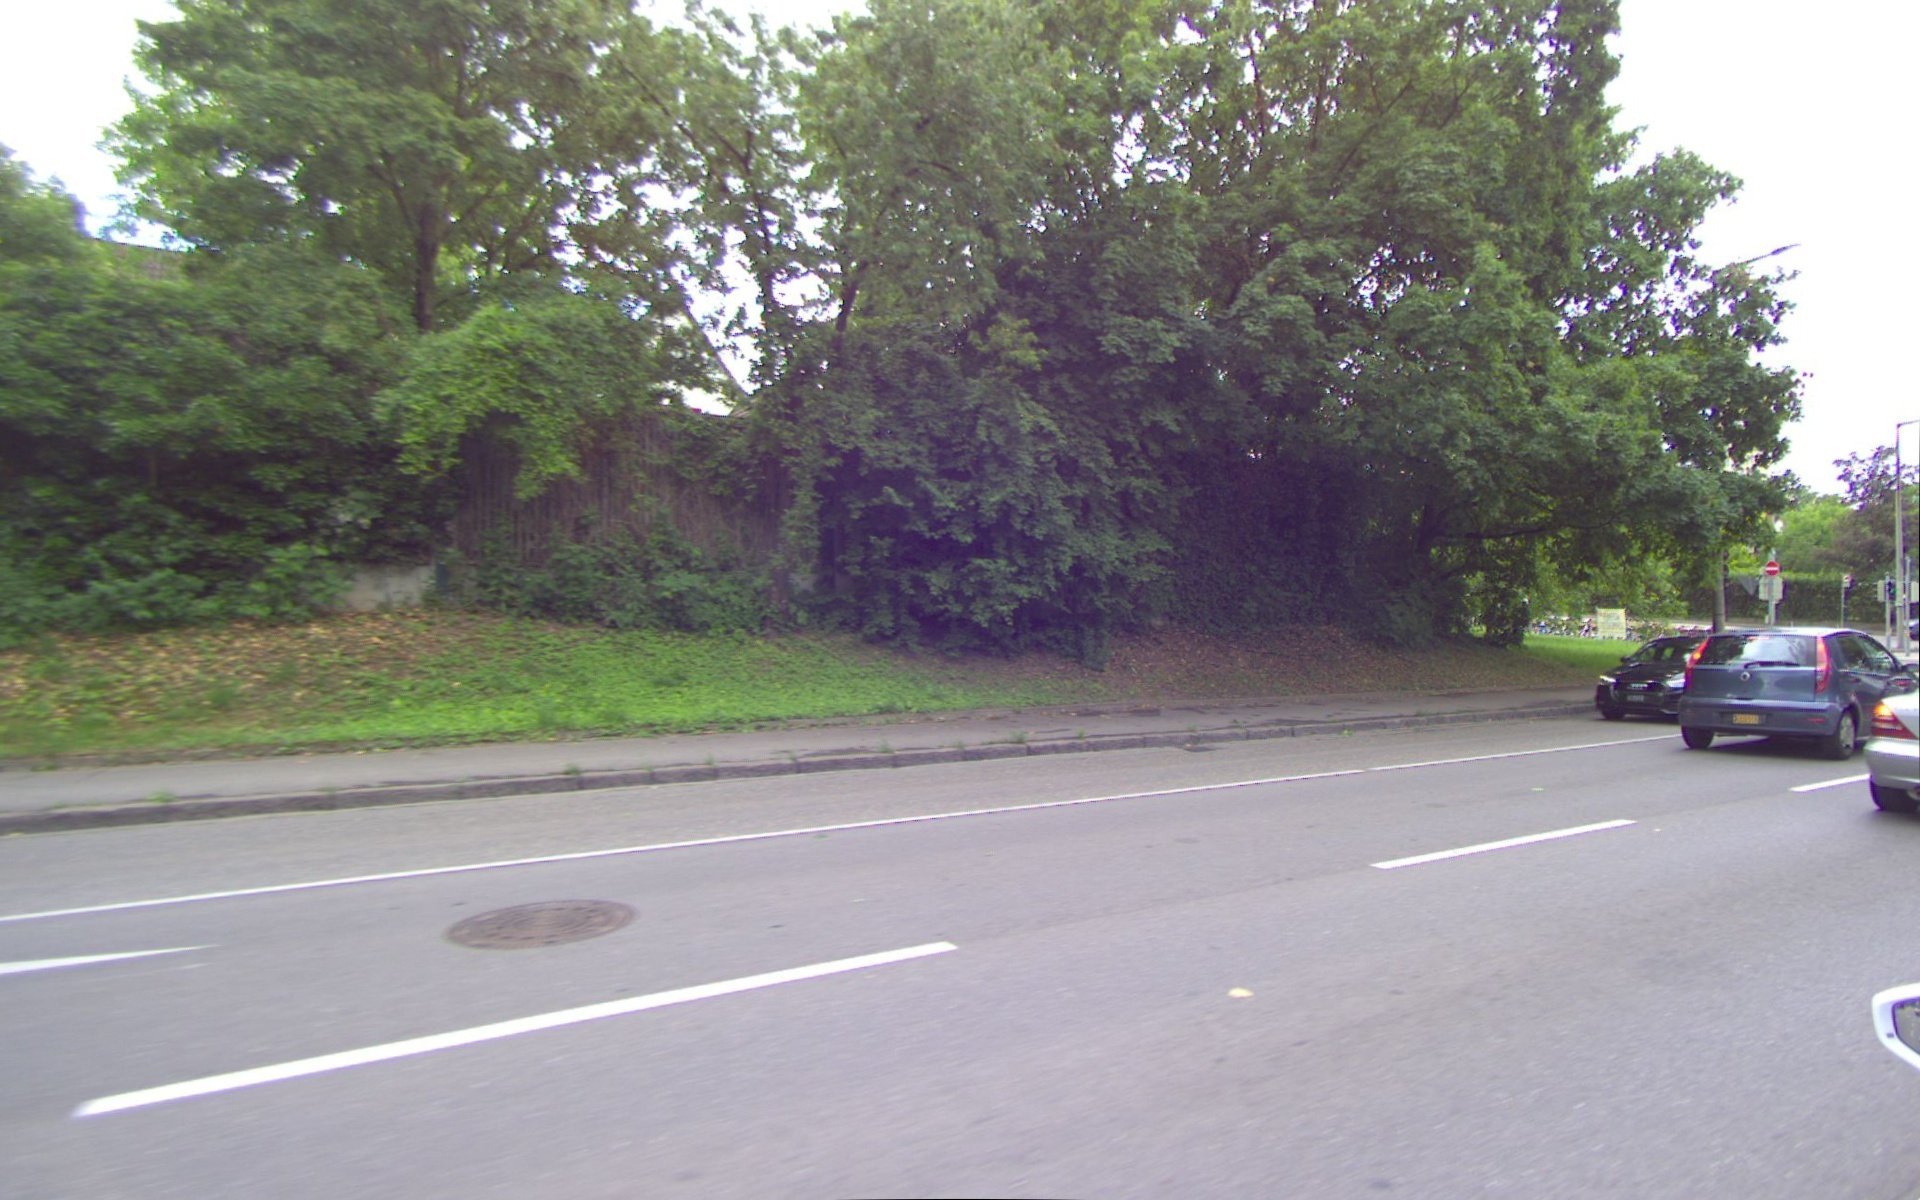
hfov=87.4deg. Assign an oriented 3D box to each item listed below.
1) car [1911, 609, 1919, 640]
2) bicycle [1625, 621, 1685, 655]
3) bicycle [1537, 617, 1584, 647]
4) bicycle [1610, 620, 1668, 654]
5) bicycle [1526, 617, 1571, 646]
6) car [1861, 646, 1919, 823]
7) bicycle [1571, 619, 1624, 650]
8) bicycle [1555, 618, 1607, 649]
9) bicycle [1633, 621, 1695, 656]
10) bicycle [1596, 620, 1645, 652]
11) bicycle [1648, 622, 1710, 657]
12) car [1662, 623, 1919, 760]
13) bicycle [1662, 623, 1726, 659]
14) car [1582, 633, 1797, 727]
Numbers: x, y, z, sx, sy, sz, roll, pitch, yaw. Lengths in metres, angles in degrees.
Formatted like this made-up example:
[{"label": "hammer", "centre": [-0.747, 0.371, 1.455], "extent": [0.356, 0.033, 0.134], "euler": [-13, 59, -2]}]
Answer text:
[{"label": "car", "centre": [58.264, 1.487, 58.168], "extent": [4.374, 1.836, 1.942], "euler": [1, 0, 38]}, {"label": "bicycle", "centre": [27.889, 1.520, 40.321], "extent": [1.896, 1.269, 0.546], "euler": [2, 1, 7]}, {"label": "bicycle", "centre": [27.218, 1.454, 45.541], "extent": [1.900, 1.269, 0.545], "euler": [2, 1, -9]}, {"label": "bicycle", "centre": [27.875, 1.512, 41.249], "extent": [1.896, 1.269, 0.546], "euler": [2, 1, 7]}, {"label": "bicycle", "centre": [27.108, 1.444, 46.248], "extent": [1.903, 1.269, 0.544], "euler": [2, 1, -14]}, {"label": "car", "centre": [8.941, 1.041, 8.038], "extent": [3.778, 1.284, 1.547], "euler": [1, 0, -31]}, {"label": "bicycle", "centre": [27.602, 1.484, 43.494], "extent": [1.897, 1.269, 0.546], "euler": [2, 1, 3]}, {"label": "bicycle", "centre": [27.470, 1.472, 44.431], "extent": [1.897, 1.269, 0.546], "euler": [2, 1, 3]}, {"label": "bicycle", "centre": [27.636, 1.518, 39.443], "extent": [1.896, 1.269, 0.546], "euler": [2, 1, 7]}, {"label": "bicycle", "centre": [27.752, 1.499, 42.235], "extent": [1.903, 1.269, 0.544], "euler": [2, 1, -14]}, {"label": "bicycle", "centre": [27.693, 1.526, 38.700], "extent": [1.896, 1.269, 0.546], "euler": [2, 1, 7]}, {"label": "car", "centre": [10.662, 1.053, 12.536], "extent": [3.881, 1.487, 1.585], "euler": [1, -2, -29]}, {"label": "bicycle", "centre": [27.759, 1.535, 37.997], "extent": [1.896, 1.269, 0.546], "euler": [2, 1, 7]}, {"label": "car", "centre": [12.337, 1.275, 16.951], "extent": [3.790, 1.413, 1.621], "euler": [1, -2, -32]}]
